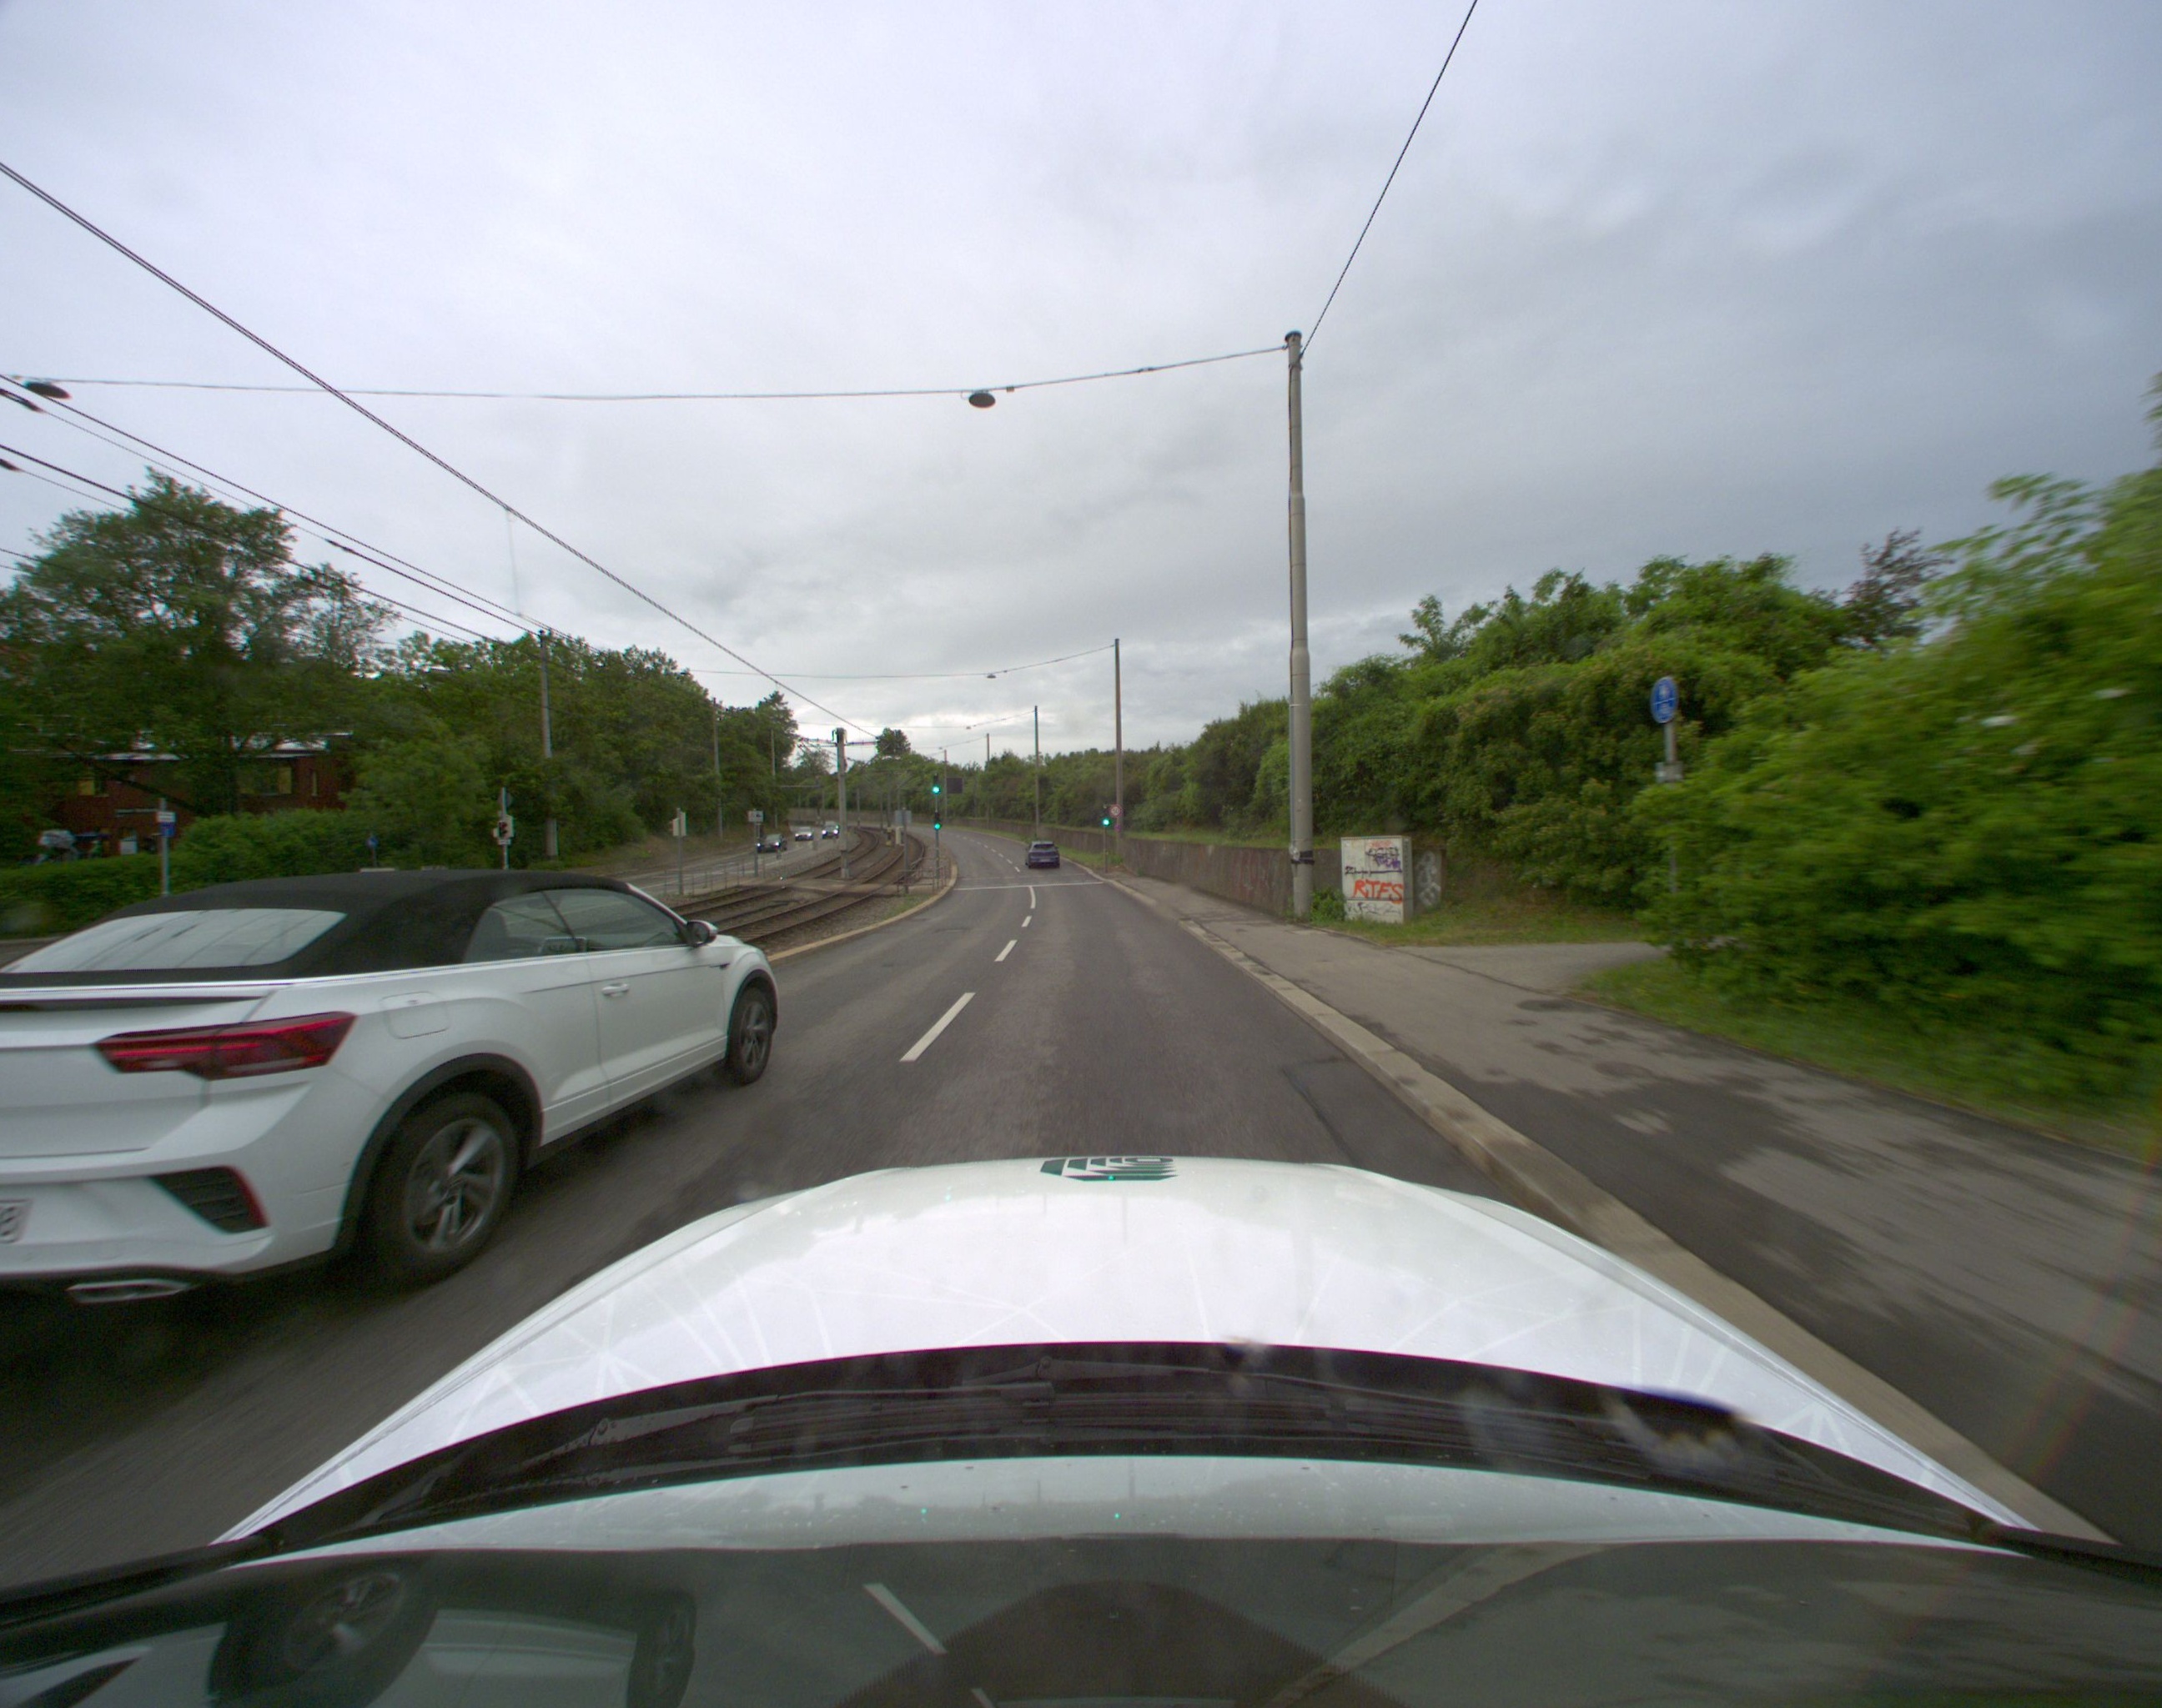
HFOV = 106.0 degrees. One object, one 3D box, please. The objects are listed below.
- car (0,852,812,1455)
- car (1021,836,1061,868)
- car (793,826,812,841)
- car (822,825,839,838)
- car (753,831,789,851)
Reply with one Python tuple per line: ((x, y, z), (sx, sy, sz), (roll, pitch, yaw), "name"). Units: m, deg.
((-3.184, 0.795, 4.399), (1.865, 1.524, 4.541), (-1, 1, 1), "car")
((-2.323, -0.158, 46.031), (1.764, 1.500, 3.988), (-2, 4, -10), "car")
((-30.283, -2.248, 88.594), (1.825, 1.379, 4.677), (-4, 4, -19), "car")
((-28.227, -2.556, 91.660), (1.638, 1.384, 3.871), (-5, 4, -18), "car")
((-25.385, -1.072, 66.897), (1.714, 1.458, 4.265), (-3, 3, -7), "car")
